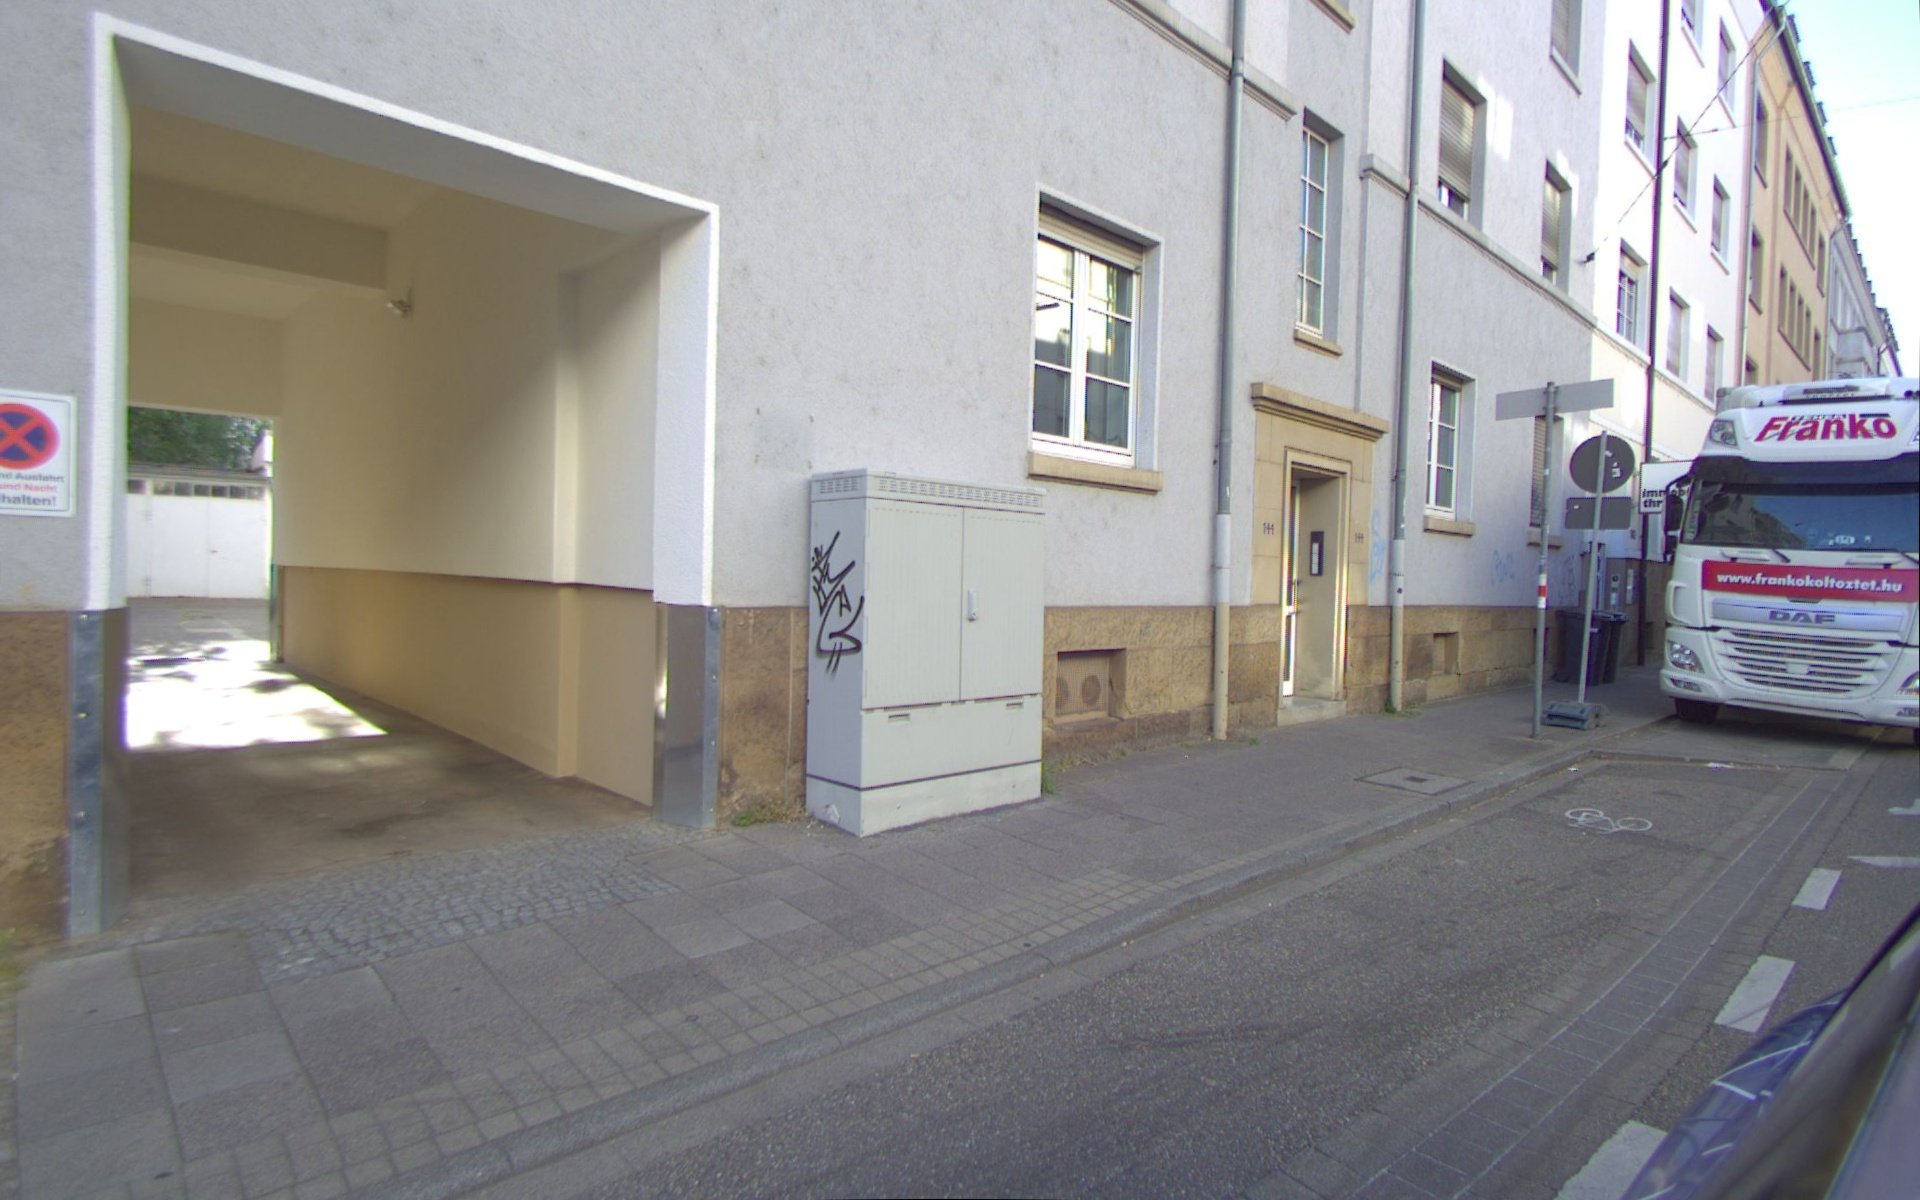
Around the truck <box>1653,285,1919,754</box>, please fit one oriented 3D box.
[{"bbox_3d":[12.566,-0.858,13.702,11.579,4.290,2.697,-1,3,-43],"label":"truck"}]

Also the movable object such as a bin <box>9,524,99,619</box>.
[{"bbox_3d":[-15.108,-0.463,16.908,1.091,1.512,1.328,0,0,-41],"label":"movable object such as a bin"}]
